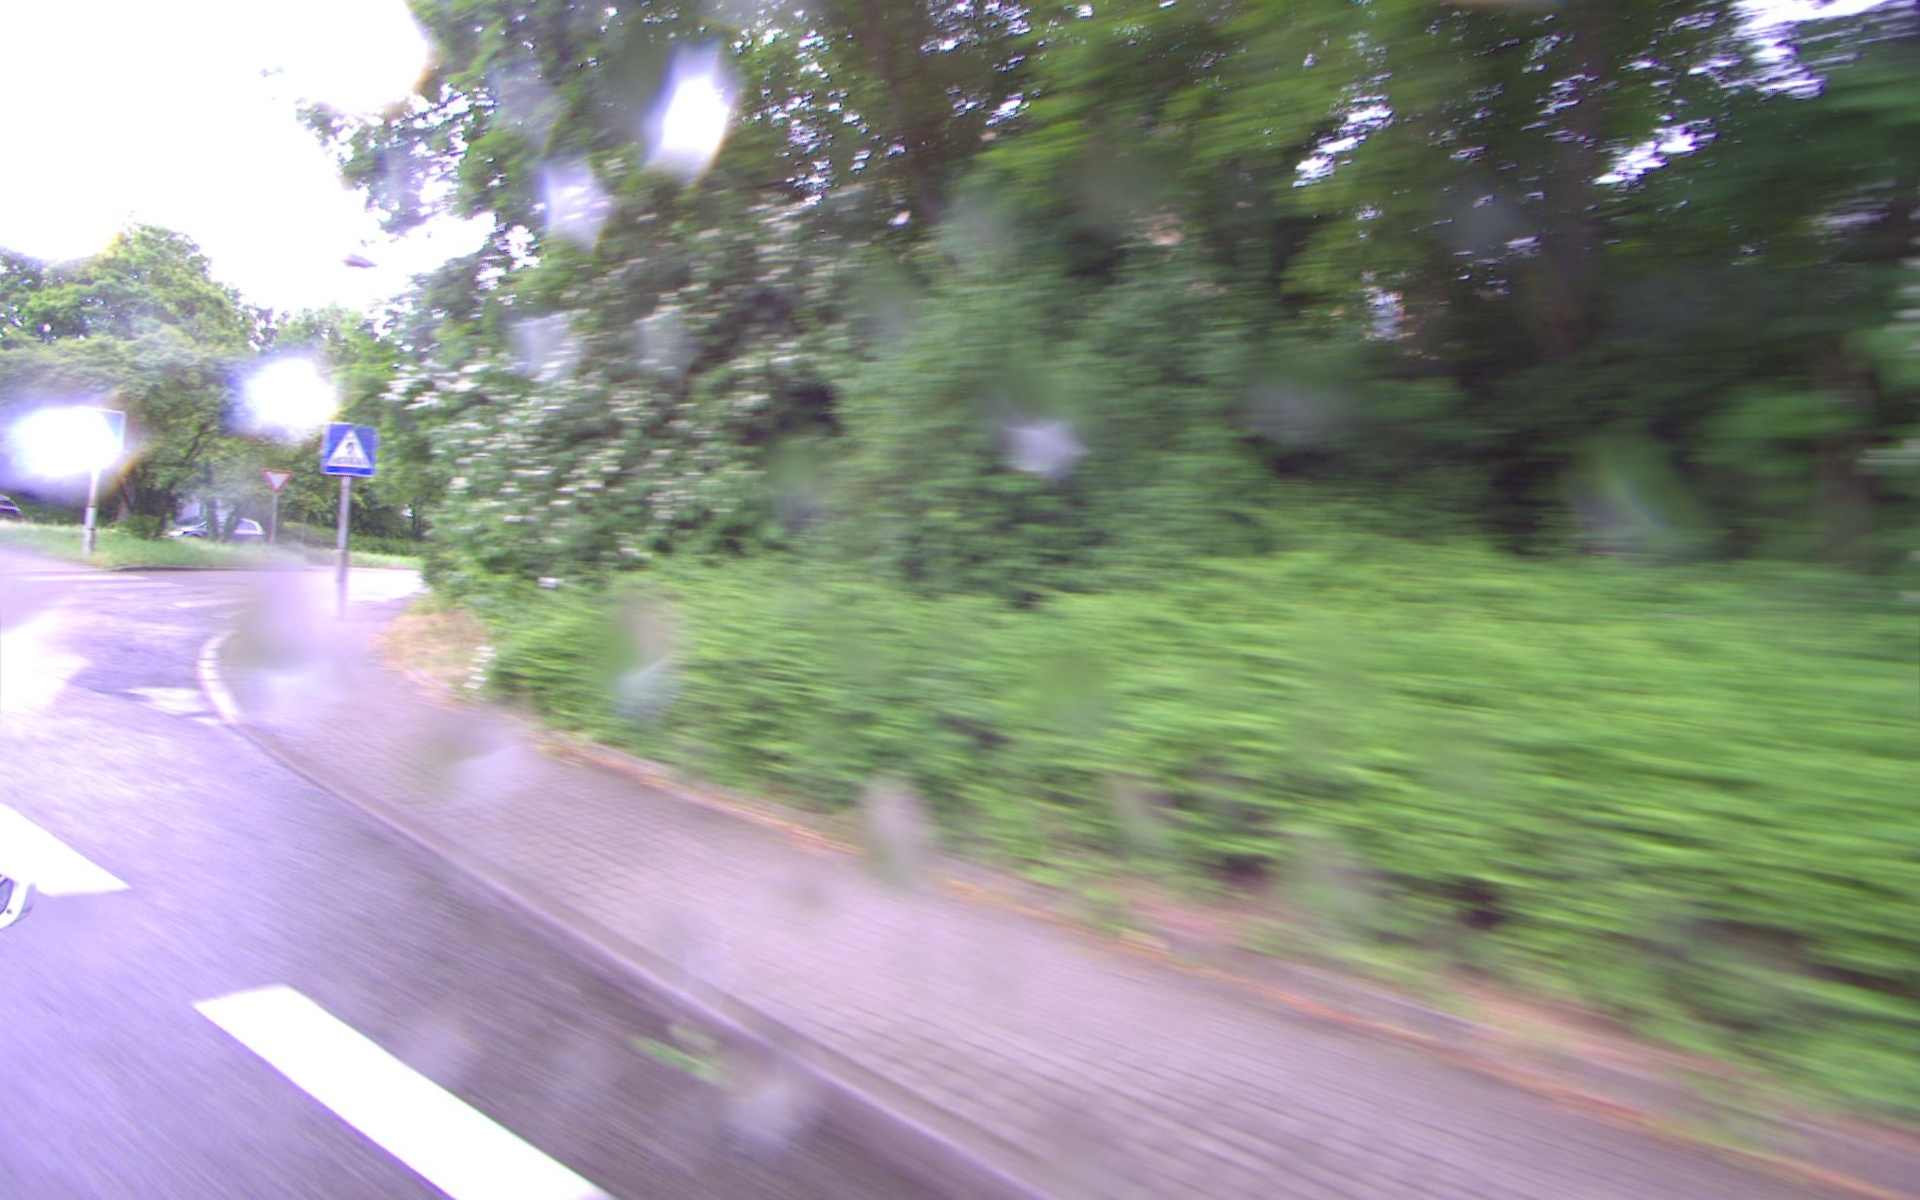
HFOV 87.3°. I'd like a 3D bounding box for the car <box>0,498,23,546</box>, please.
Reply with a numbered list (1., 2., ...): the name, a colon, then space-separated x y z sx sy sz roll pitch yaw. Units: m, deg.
1. car: -34.115 -2.839 33.332 1.867 1.528 3.996 7 0 25
